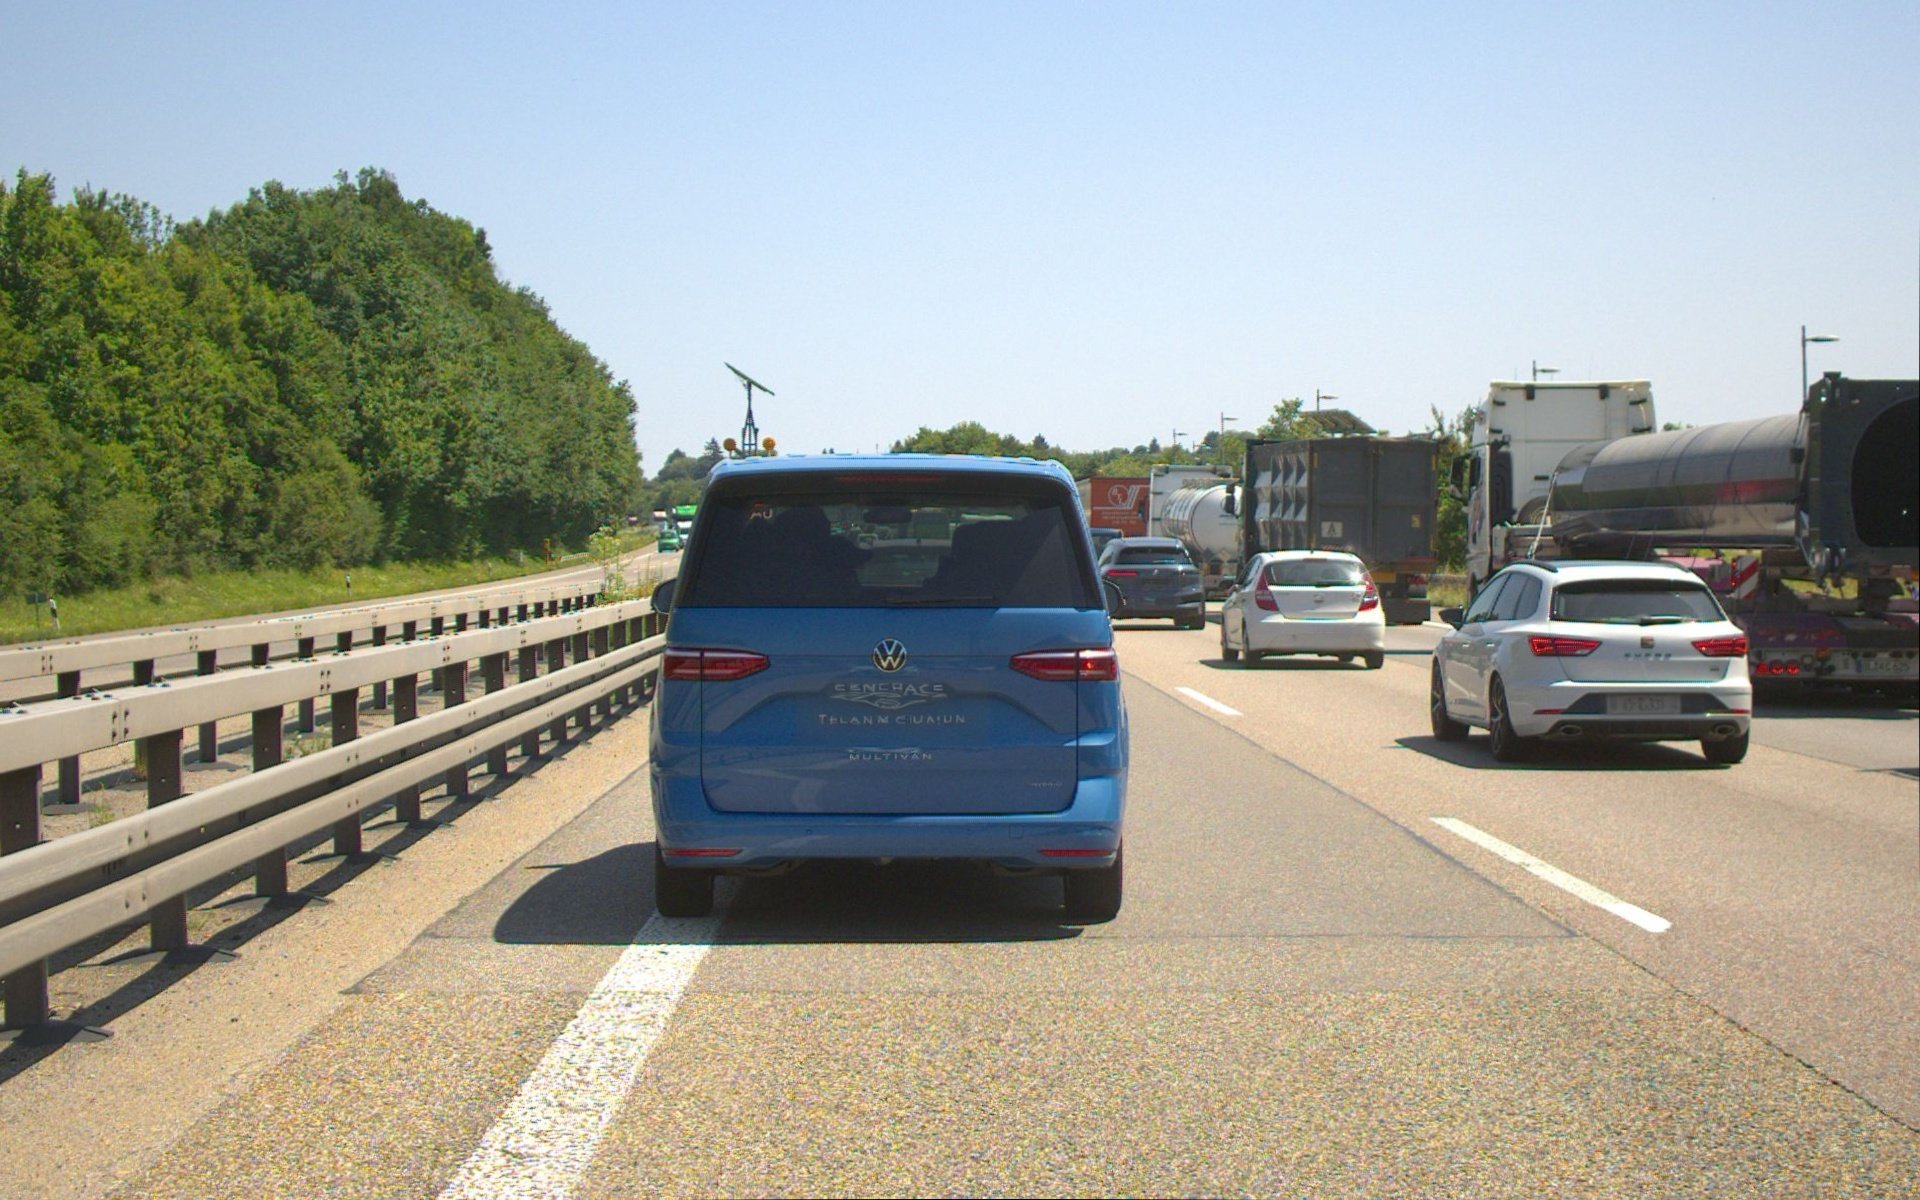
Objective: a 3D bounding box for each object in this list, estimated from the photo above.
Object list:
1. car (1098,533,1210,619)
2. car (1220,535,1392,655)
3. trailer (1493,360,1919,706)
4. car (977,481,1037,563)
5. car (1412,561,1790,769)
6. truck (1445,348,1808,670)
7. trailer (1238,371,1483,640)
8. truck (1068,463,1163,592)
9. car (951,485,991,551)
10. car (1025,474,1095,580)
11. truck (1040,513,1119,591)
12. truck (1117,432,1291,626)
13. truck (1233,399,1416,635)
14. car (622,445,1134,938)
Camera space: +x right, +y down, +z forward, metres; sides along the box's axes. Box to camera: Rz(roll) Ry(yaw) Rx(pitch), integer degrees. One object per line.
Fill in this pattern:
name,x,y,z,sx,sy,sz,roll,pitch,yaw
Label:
car,3.577,-0.432,63.855,1.781,1.519,4.000,1,0,-1
car,4.416,-0.066,44.363,1.840,1.449,4.000,1,0,1
trailer,8.862,-0.607,38.561,3.646,3.068,15.771,1,0,1
car,3.085,-5.148,228.000,3.218,5.239,8.145,1,0,-4
car,4.586,0.418,25.185,1.867,1.356,4.000,1,1,-2
truck,9.055,-1.176,47.767,3.626,4.080,7.524,1,0,1
trailer,8.225,-1.835,72.559,3.646,5.119,13.075,1,0,0
truck,6.141,-2.796,137.437,3.068,4.903,10.690,1,0,-1
car,0.764,-6.131,258.433,2.716,4.697,11.561,1,0,-1
car,5.083,-3.692,176.780,3.218,5.239,8.144,1,0,0
truck,2.908,-1.155,84.471,1.725,1.851,4.000,1,0,-1
truck,6.929,-1.941,100.517,3.621,5.195,15.690,1,0,-1
truck,8.290,-1.848,78.908,3.659,5.162,5.708,1,0,1
car,-0.286,0.339,14.954,1.901,1.831,4.000,1,0,1
